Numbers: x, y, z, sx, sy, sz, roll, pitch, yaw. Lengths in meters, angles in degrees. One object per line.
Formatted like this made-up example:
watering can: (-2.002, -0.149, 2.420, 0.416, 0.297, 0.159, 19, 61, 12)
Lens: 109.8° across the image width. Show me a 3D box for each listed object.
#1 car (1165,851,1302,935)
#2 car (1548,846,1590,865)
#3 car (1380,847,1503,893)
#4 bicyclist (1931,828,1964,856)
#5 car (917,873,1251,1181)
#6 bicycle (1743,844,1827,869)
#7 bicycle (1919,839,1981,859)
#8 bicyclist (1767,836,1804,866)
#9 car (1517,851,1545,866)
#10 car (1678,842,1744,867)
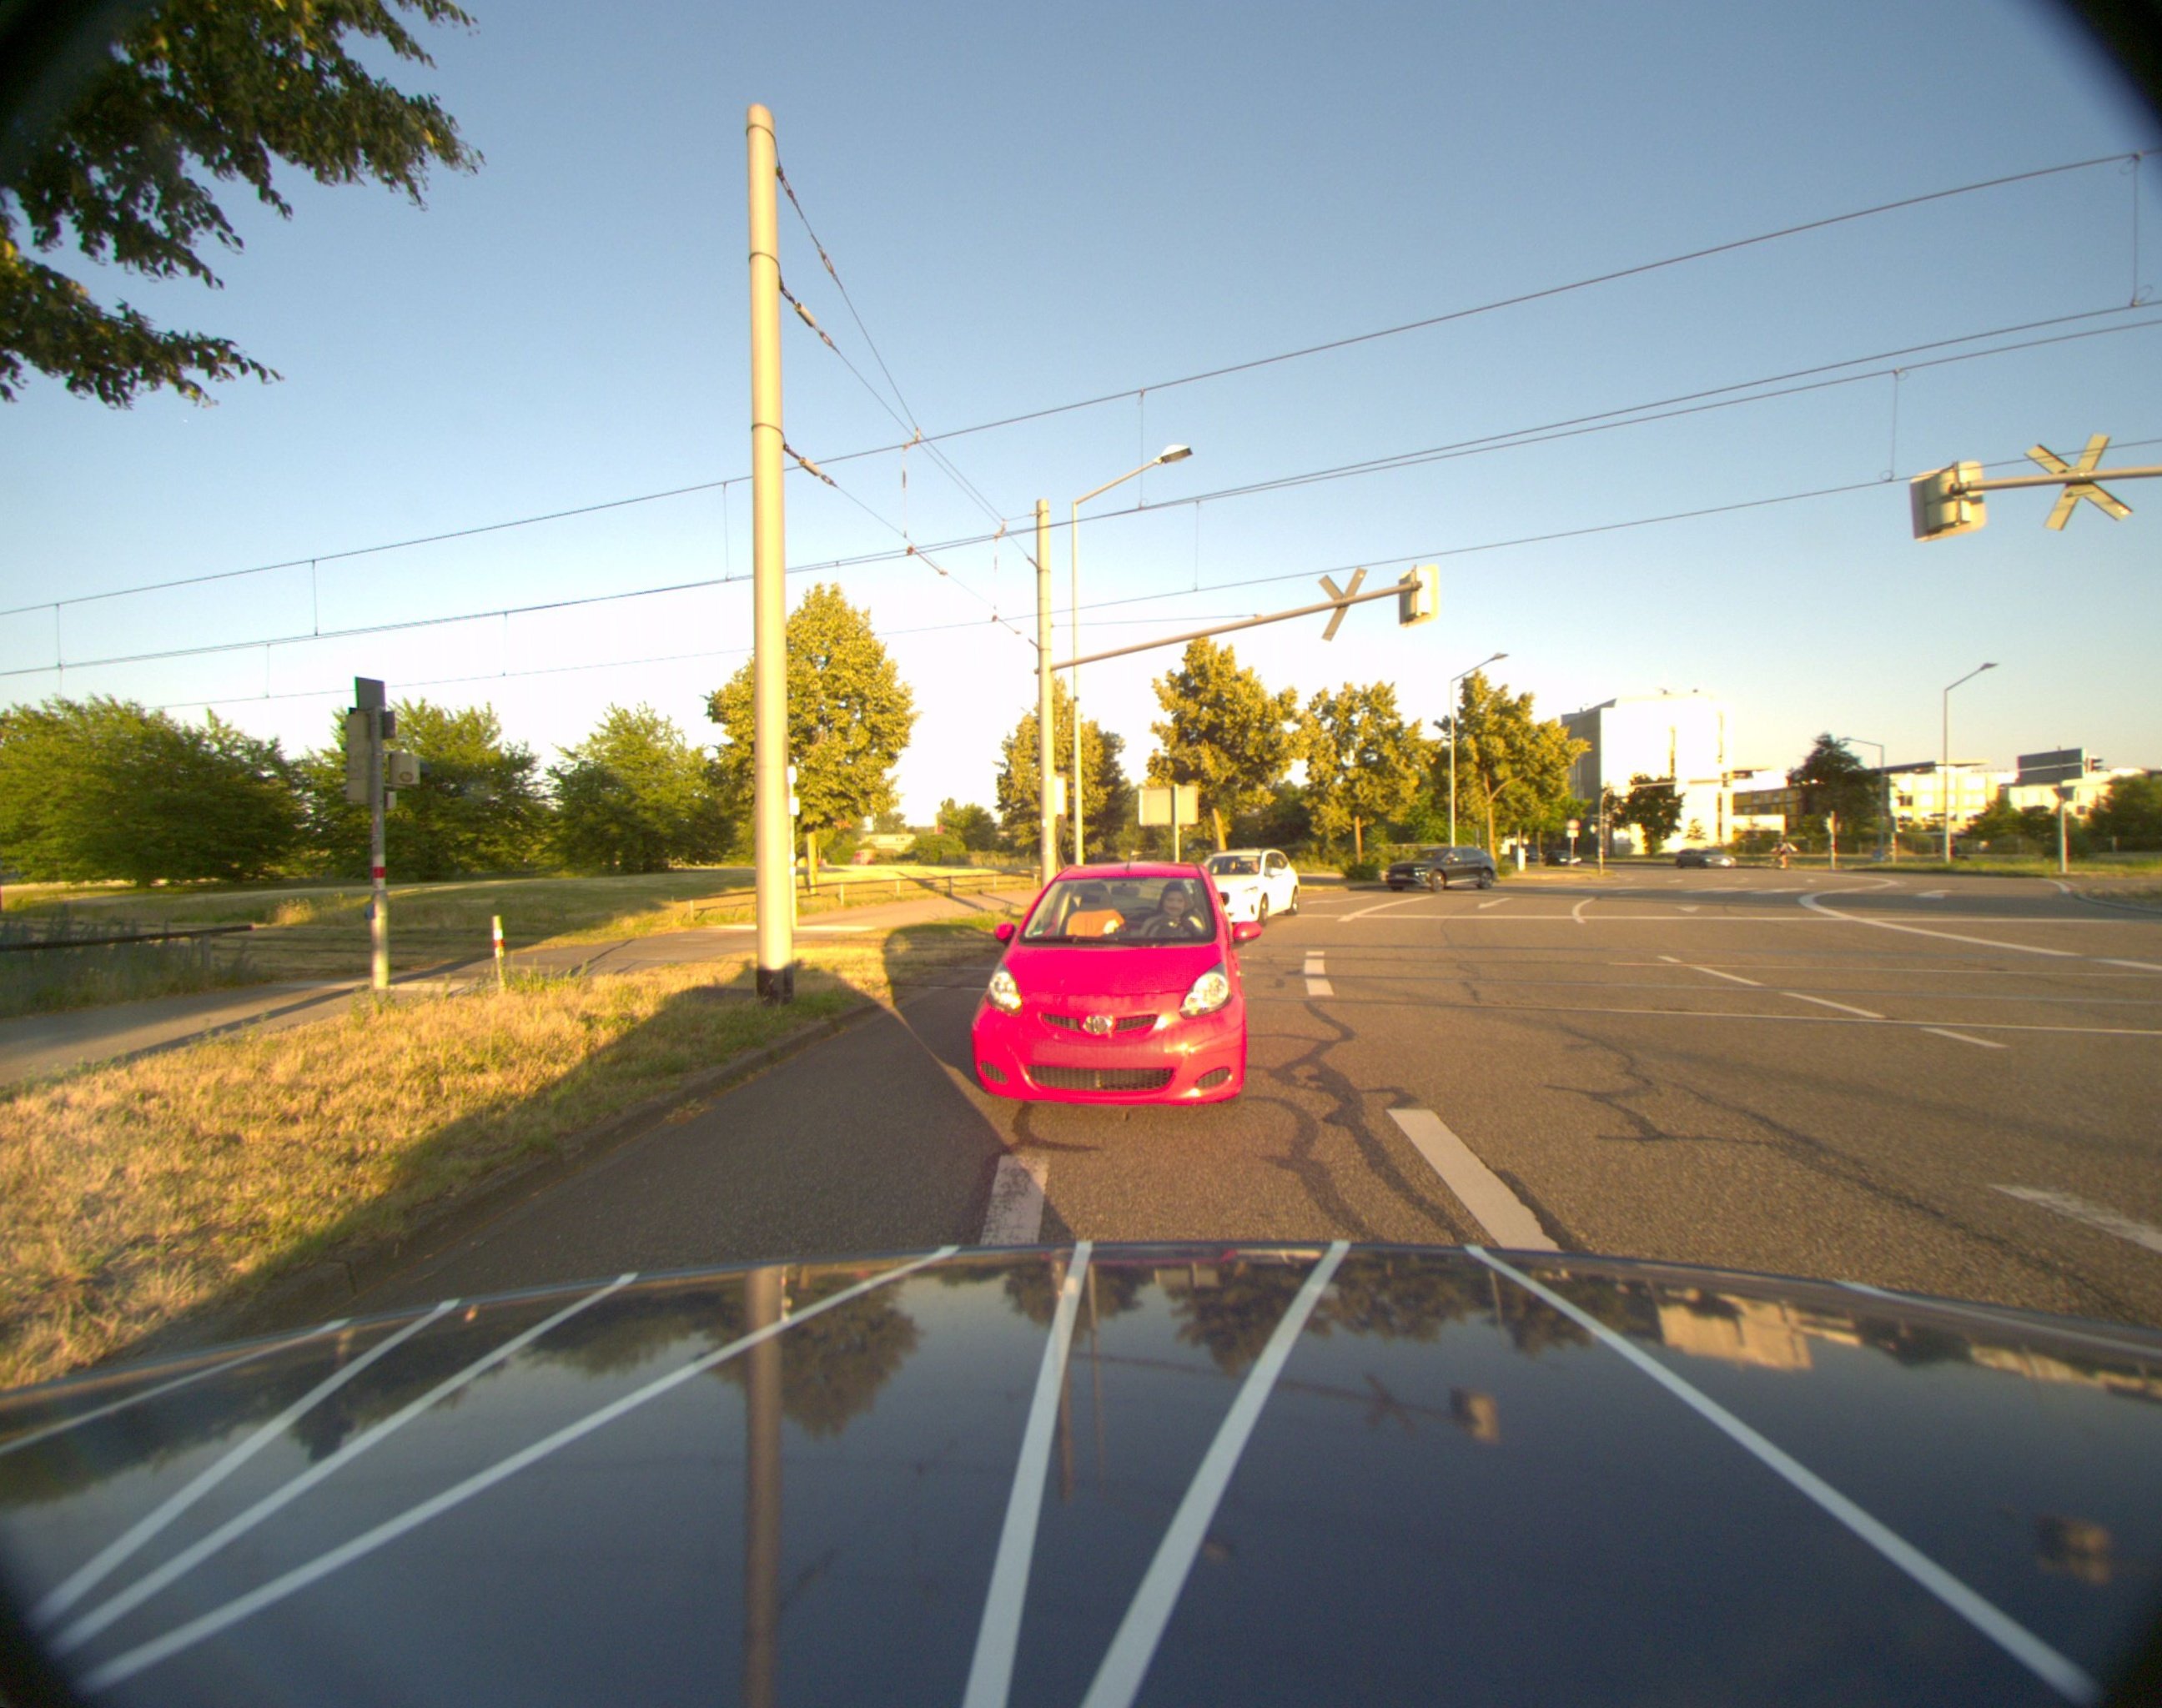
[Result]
car: (3.453, 0.748, 16.546, 1.756, 1.549, 4.222, -1, 0, 28)
car: (44.932, 0.094, 70.040, 1.870, 1.616, 4.196, -1, 1, 12)
car: (13.114, 0.549, 27.603, 4.220, 1.549, 1.824, -1, 0, -27)
bicyclist: (51.429, -0.690, 45.103, 0.998, 1.623, 0.812, -1, 1, 18)
car: (0.366, 0.901, 5.903, 1.692, 1.413, 4.215, -1, 0, 10)
bicycle: (41.480, 0.140, 44.850, 3.529, 1.387, 1.126, 0, 1, 32)
bicycle: (51.543, -0.299, 45.074, 2.324, 1.172, 0.812, -1, 1, 18)
bicyclist: (41.513, -0.182, 44.821, 1.413, 1.739, 1.126, 0, 1, 32)
car: (51.850, 0.452, 87.571, 1.869, 1.616, 4.198, -1, 1, 17)
car: (44.510, 0.002, 53.803, 1.870, 1.616, 4.196, -1, 1, 12)
